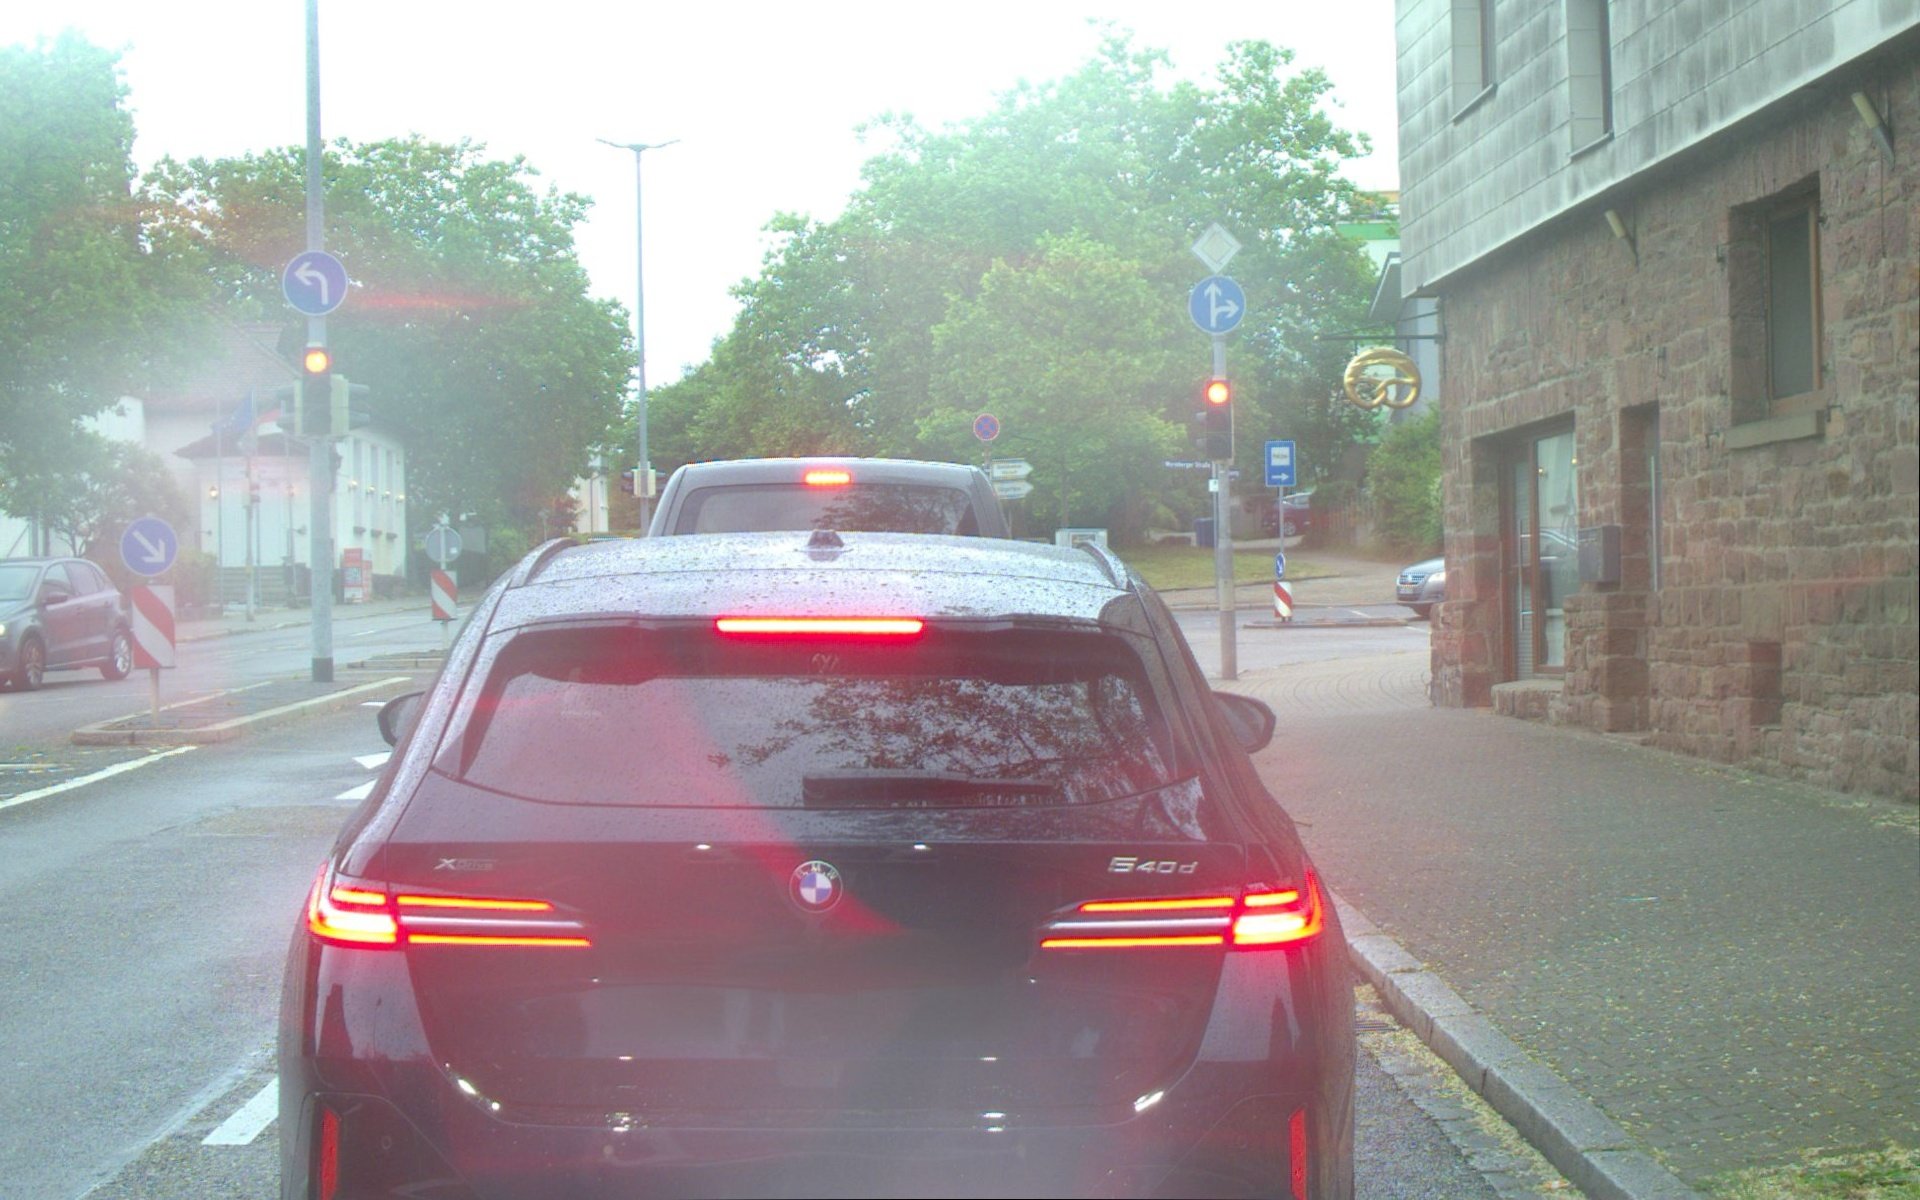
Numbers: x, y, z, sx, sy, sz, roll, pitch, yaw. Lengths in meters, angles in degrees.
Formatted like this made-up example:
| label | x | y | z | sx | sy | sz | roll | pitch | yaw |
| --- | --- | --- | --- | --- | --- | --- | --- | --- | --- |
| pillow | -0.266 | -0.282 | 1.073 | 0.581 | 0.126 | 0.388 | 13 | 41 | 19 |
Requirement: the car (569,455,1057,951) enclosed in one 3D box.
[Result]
| label | x | y | z | sx | sy | sz | roll | pitch | yaw |
| --- | --- | --- | --- | --- | --- | --- | --- | --- | --- |
| car | -0.633 | 0.333 | 14.638 | 1.783 | 1.811 | 4.001 | 0 | 1 | -3 |

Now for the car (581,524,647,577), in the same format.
| label | x | y | z | sx | sy | sz | roll | pitch | yaw |
| --- | --- | --- | --- | --- | --- | --- | --- | --- | --- |
| car | -9.251 | -1.332 | 92.119 | 1.464 | 1.393 | 3.322 | 0 | 1 | -1 |

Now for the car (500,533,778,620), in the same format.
| label | x | y | z | sx | sy | sz | roll | pitch | yaw |
| --- | --- | --- | --- | --- | --- | --- | --- | --- | --- |
| car | -4.959 | -0.393 | 53.429 | 3.989 | 1.284 | 1.848 | -1 | 2 | -42 |

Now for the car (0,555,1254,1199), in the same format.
| label | x | y | z | sx | sy | sz | roll | pitch | yaw |
| --- | --- | --- | --- | --- | --- | --- | --- | --- | --- |
| car | -0.711 | 0.639 | 7.426 | 2.064 | 1.441 | 4.484 | 0 | 1 | -3 |

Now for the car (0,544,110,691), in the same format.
| label | x | y | z | sx | sy | sz | roll | pitch | yaw |
| --- | --- | --- | --- | --- | --- | --- | --- | --- | --- |
| car | -10.819 | 0.156 | 37.713 | 1.993 | 1.504 | 3.955 | 0 | 1 | 0 |

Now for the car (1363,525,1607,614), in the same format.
| label | x | y | z | sx | sy | sz | roll | pitch | yaw |
| --- | --- | --- | --- | --- | --- | --- | --- | --- | --- |
| car | 9.489 | -0.574 | 62.143 | 3.986 | 1.546 | 1.825 | -1 | 1 | -21 |
